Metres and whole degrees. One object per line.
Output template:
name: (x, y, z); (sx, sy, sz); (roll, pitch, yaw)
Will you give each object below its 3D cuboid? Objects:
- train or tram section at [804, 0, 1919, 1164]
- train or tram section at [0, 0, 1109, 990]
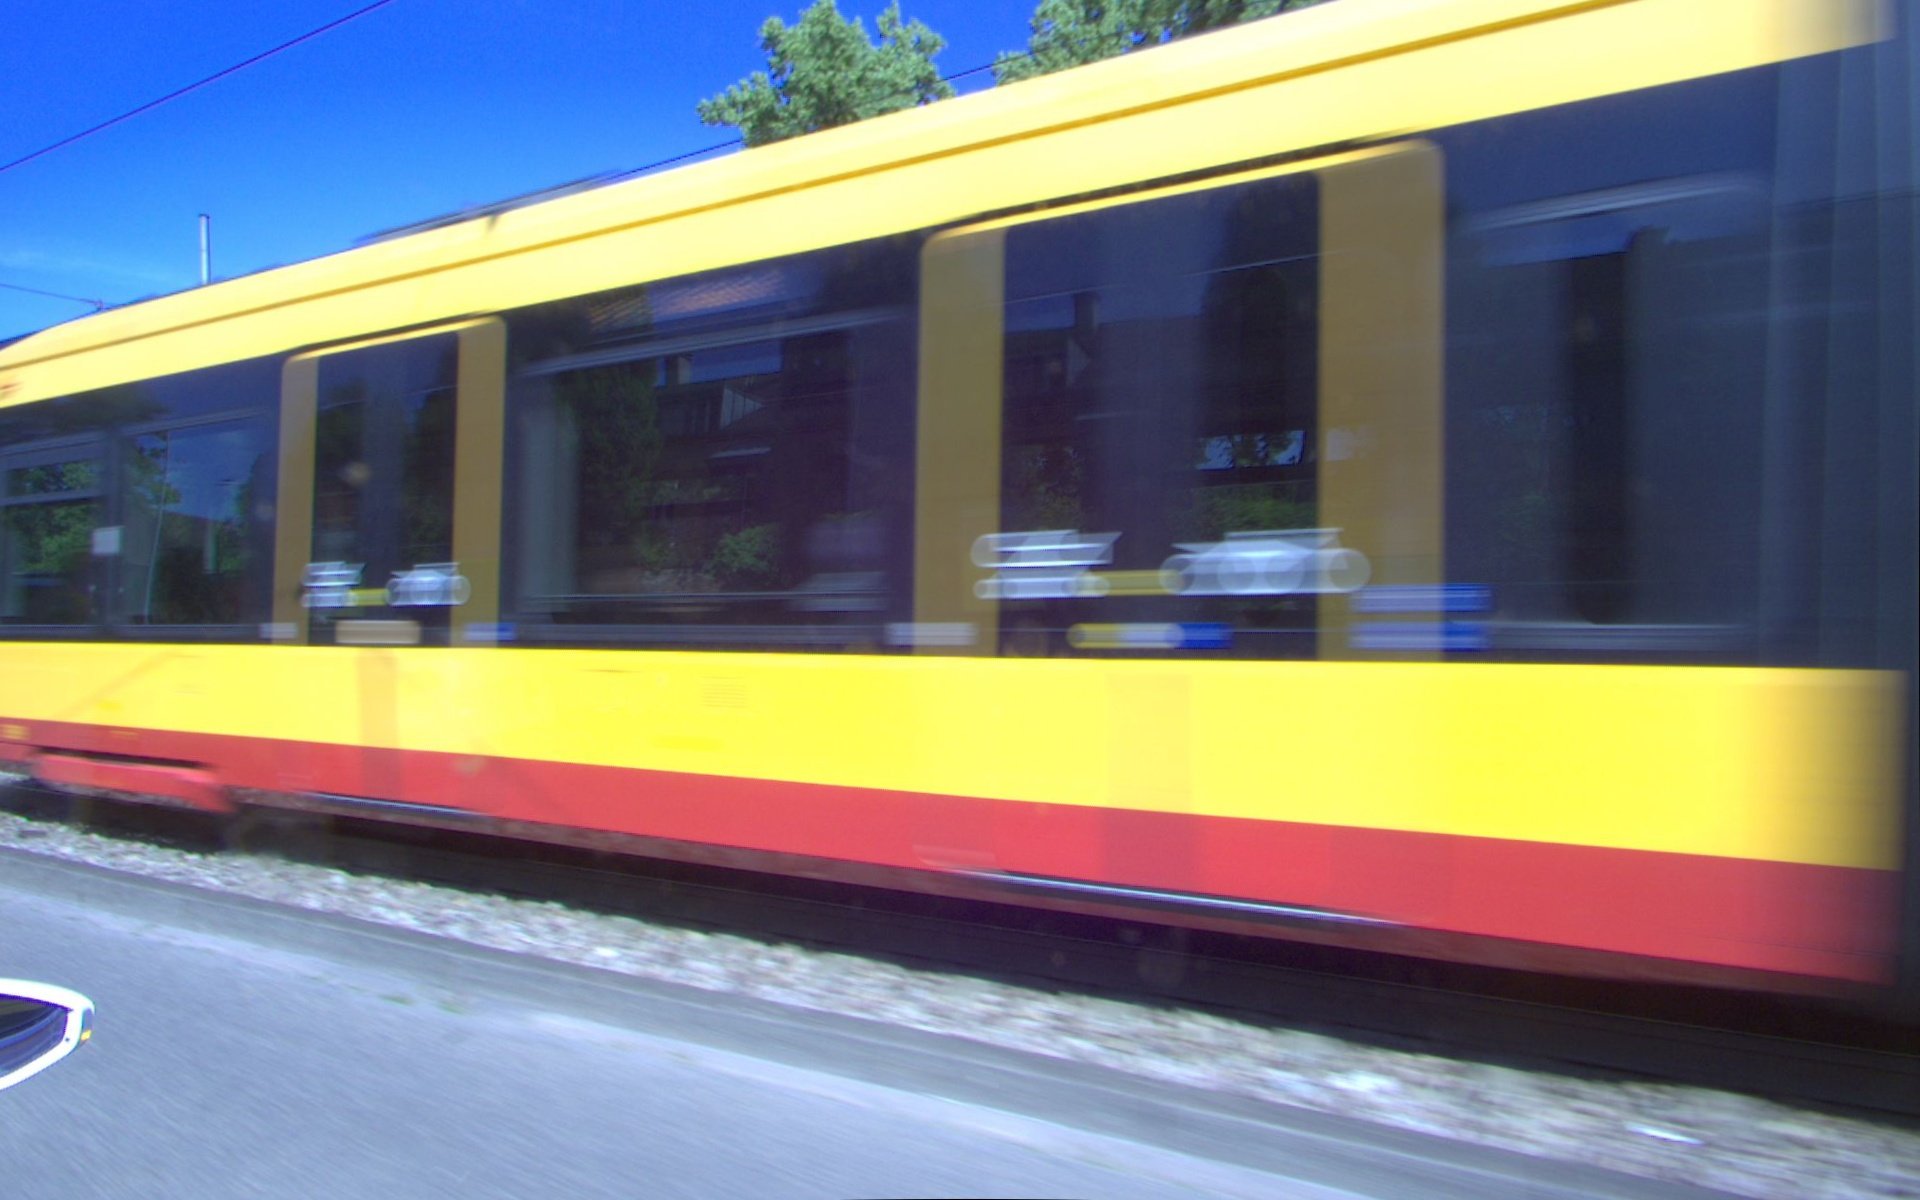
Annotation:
train or tram section: (5.866, -0.448, 2.440); (13.089, 3.797, 2.511); (0, 1, 24)
train or tram section: (-5.517, -0.394, 7.807); (13.097, 3.797, 2.510); (0, 1, 27)
